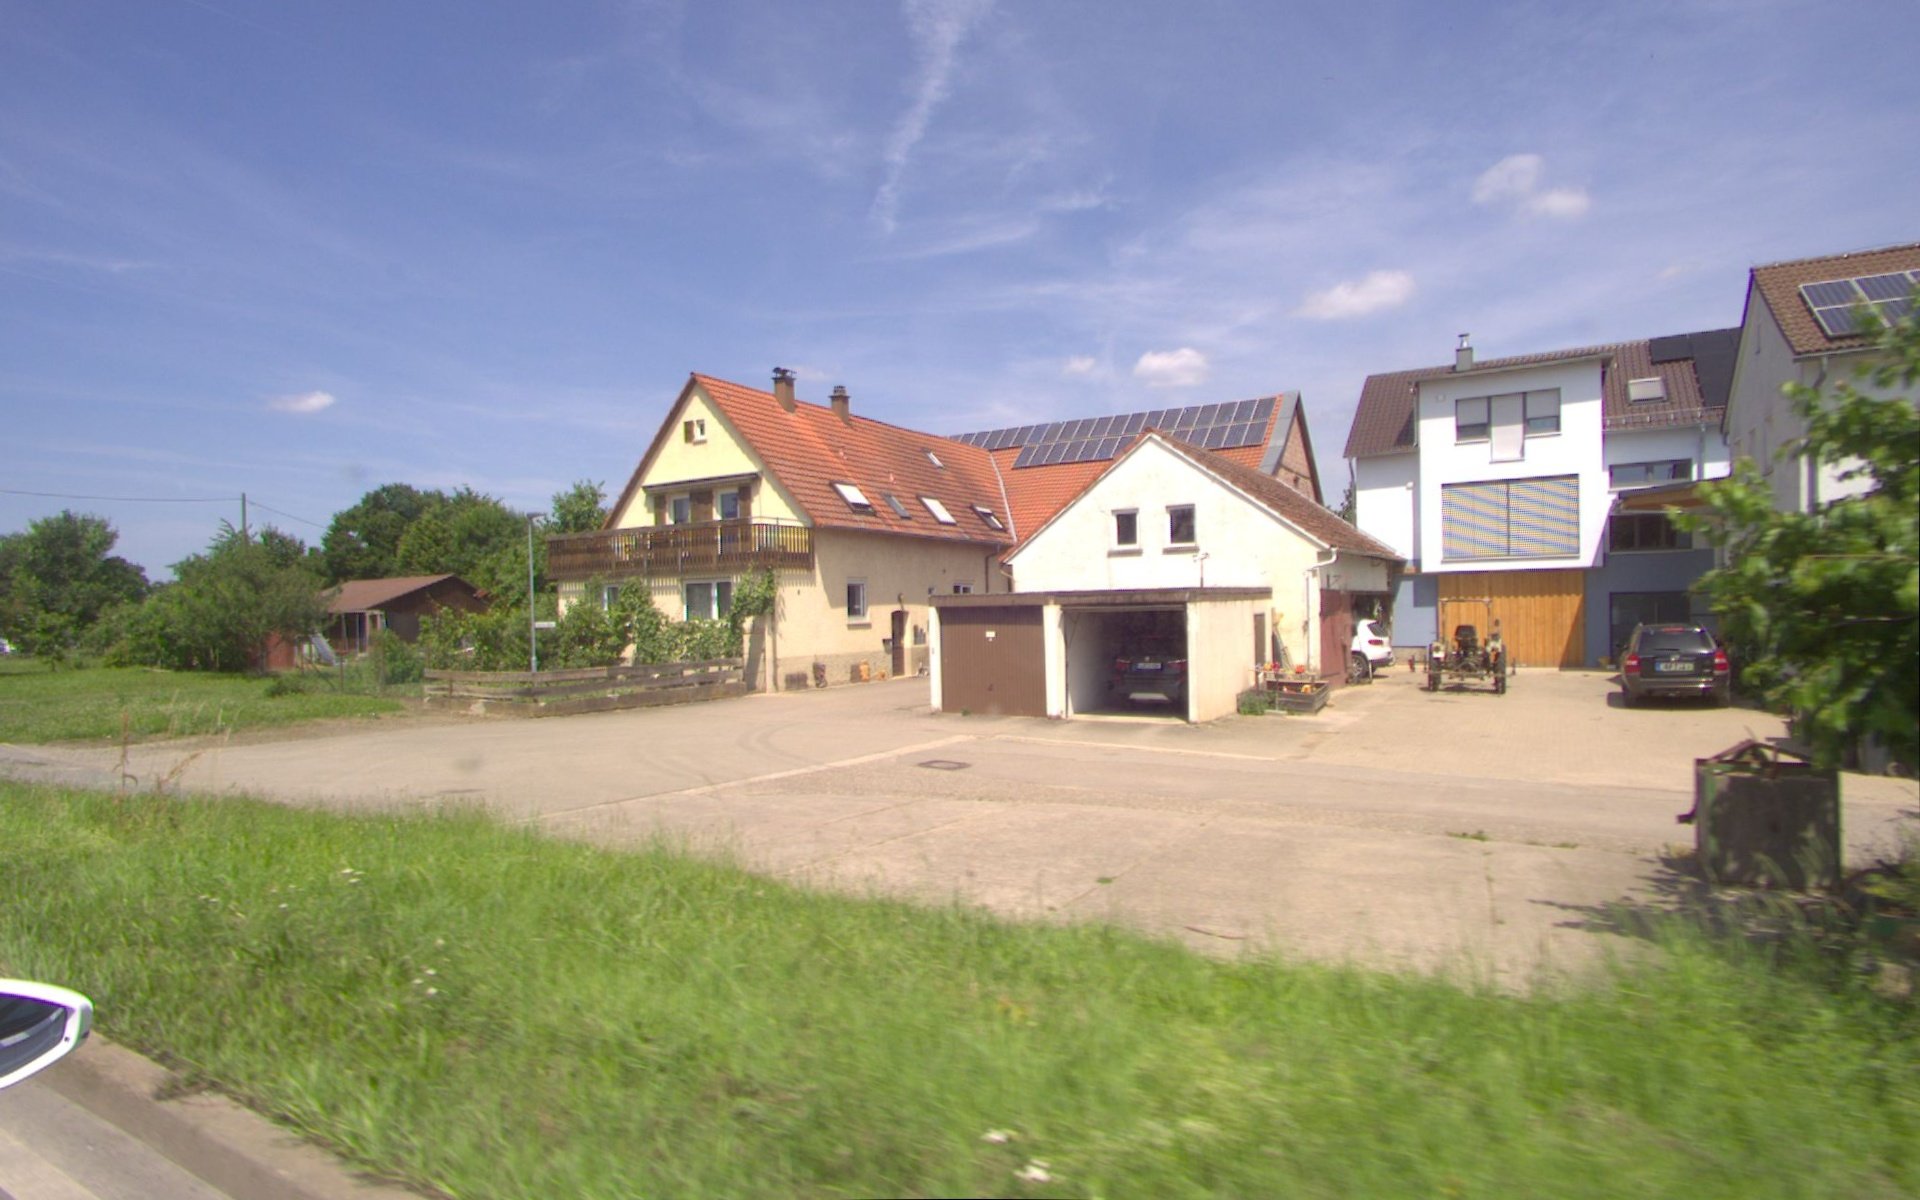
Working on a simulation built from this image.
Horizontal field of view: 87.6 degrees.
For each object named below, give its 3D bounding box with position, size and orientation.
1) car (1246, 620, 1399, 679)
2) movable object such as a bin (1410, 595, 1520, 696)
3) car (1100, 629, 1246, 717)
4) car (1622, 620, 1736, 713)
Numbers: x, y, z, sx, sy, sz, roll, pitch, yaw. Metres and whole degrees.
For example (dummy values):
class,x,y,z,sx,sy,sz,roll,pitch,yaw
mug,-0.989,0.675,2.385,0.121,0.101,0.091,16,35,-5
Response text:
class,x,y,z,sx,sy,sz,roll,pitch,yaw
car,10.593,1.431,29.352,3.944,1.638,1.751,-2,-2,32
movable object such as a bin,12.897,1.055,25.472,2.050,2.375,3.699,1,1,34
car,4.652,1.480,21.477,1.808,1.599,3.979,-2,-1,32
car,15.354,1.351,21.553,1.819,1.715,3.938,-2,-1,34
